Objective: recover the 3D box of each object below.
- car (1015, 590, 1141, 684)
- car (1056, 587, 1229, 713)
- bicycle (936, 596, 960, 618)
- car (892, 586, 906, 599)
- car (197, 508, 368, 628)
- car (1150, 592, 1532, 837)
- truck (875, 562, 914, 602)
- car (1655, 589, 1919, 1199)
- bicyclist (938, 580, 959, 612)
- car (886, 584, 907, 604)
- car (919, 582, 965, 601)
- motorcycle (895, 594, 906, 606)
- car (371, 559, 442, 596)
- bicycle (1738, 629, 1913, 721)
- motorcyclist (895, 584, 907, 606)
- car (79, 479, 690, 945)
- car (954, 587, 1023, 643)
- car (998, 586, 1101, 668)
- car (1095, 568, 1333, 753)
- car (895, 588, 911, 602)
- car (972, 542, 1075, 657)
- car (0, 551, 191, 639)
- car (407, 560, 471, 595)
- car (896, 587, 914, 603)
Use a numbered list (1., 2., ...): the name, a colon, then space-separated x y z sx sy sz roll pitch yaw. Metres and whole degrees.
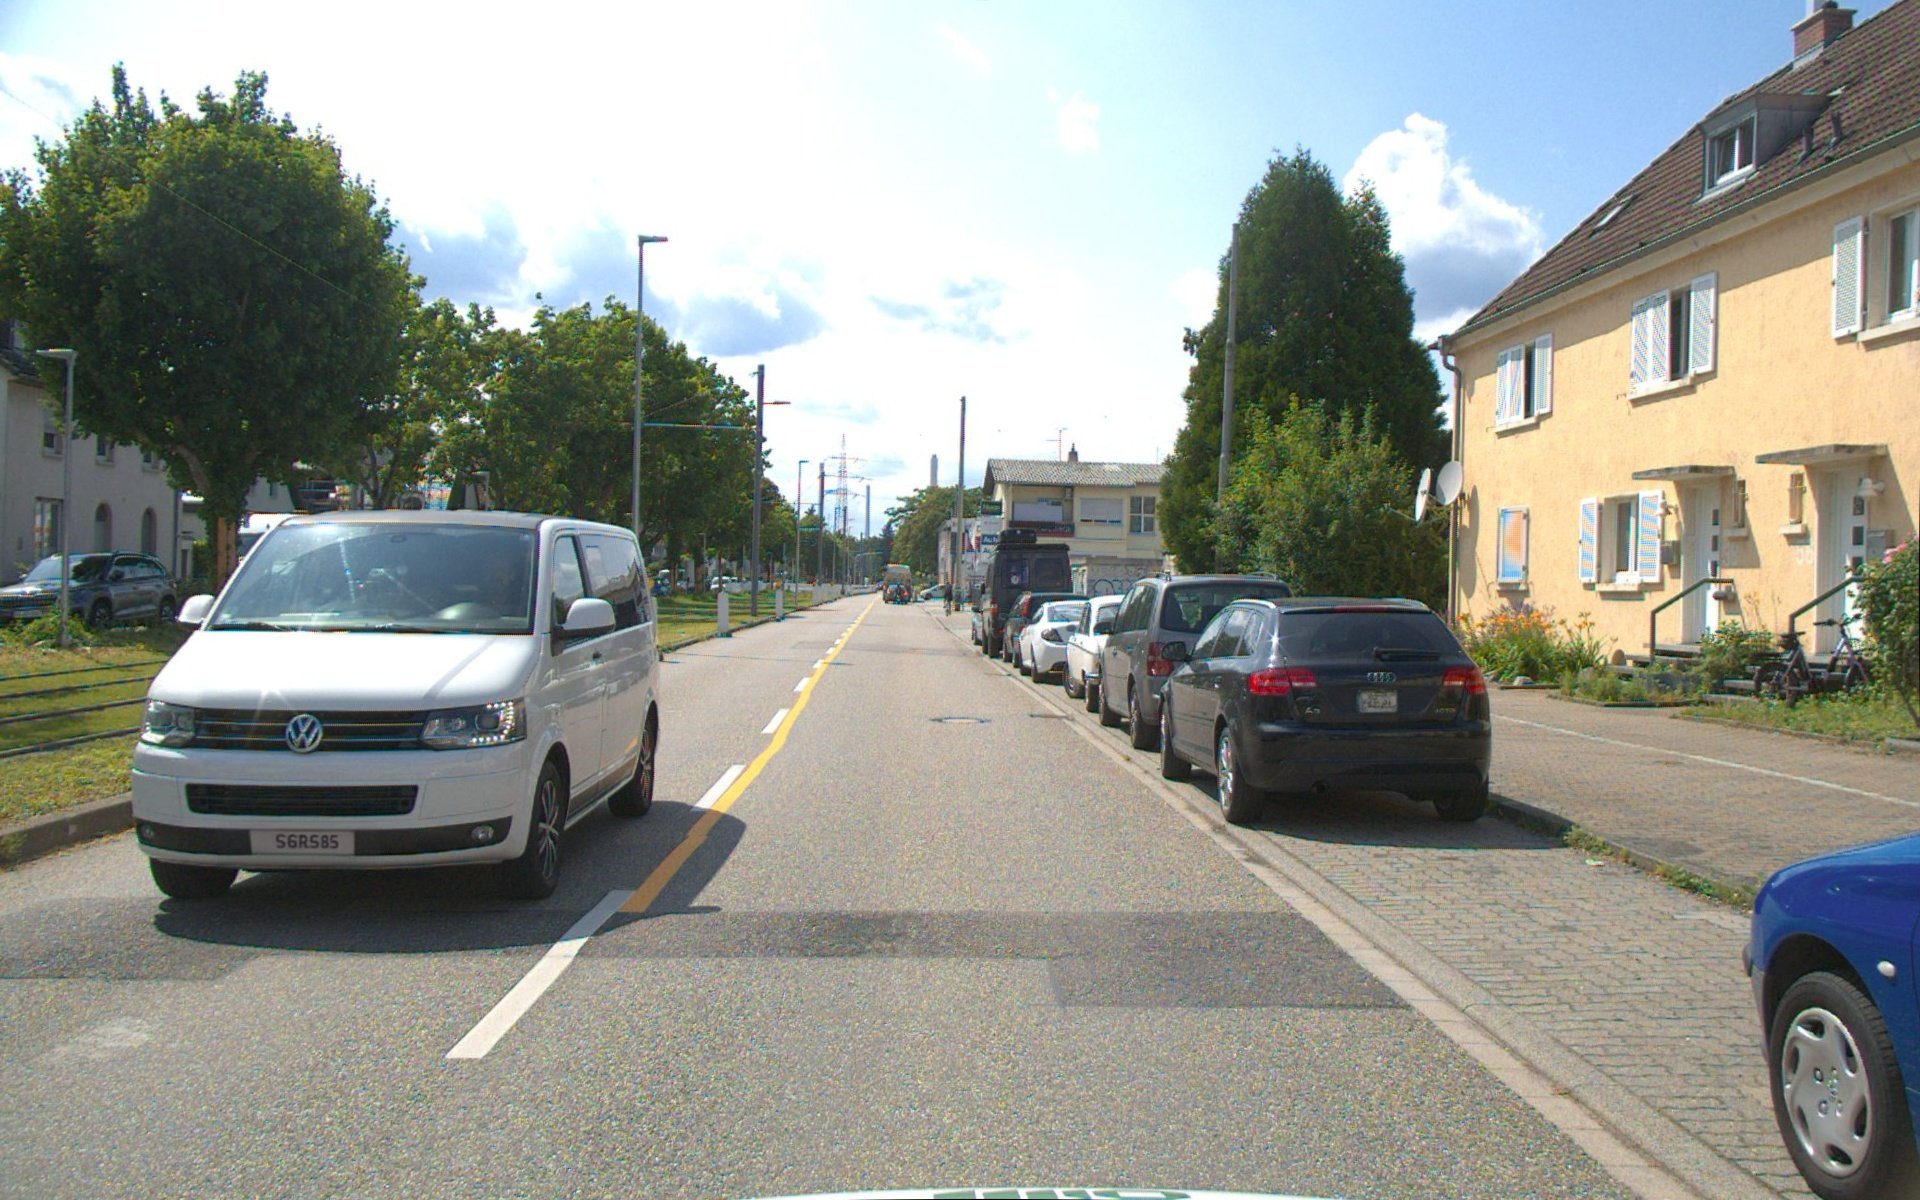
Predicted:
1. car: 1.936 0.566 28.206 1.728 1.465 3.999 0 0 -2
2. car: 2.325 0.591 21.987 1.728 1.502 3.999 0 0 -2
3. bicycle: -0.595 0.348 82.972 0.975 1.067 2.810 1 0 -5
4. car: -7.586 -0.914 205.123 1.537 1.524 4.145 1 0 -4
5. car: -16.896 -0.765 41.700 2.034 2.768 6.994 0 0 -6
6. car: 2.532 0.678 11.976 1.728 1.442 3.999 0 0 -2
7. truck: -5.984 -1.579 149.523 3.157 3.461 11.345 1 0 -4
8. car: 2.969 0.703 3.057 1.588 1.442 3.999 0 0 -2
9. bicyclist: -0.584 -0.209 82.995 0.975 1.596 1.139 1 0 -5
10. car: -5.080 -0.509 132.584 1.537 1.524 4.145 1 0 -4
11. car: -1.859 -0.857 170.043 4.554 1.854 1.833 1 0 -7
12. motorcycle: -4.590 -0.005 127.523 0.866 0.940 2.614 1 0 -3
13. car: -24.682 -0.977 73.882 1.841 1.580 4.395 1 0 -3
14. bicycle: 9.694 0.834 18.534 1.824 0.972 0.366 1 0 -7
15. motorcyclist: -4.565 -0.390 127.259 0.866 1.696 1.108 1 0 -3
16. car: -2.914 0.454 9.824 1.889 1.993 5.374 0 0 -2
17. car: 0.787 0.406 47.797 1.728 1.529 3.998 0 0 -3
18. car: 1.752 0.493 33.381 1.728 1.529 3.999 0 0 -2
19. car: 2.480 0.530 17.076 1.728 1.672 3.999 0 0 -2
20. car: -6.426 -0.549 186.283 1.537 1.524 4.145 1 0 -4
21. car: 1.429 -0.035 39.468 1.920 2.522 6.057 0 0 -3
22. car: -16.405 -0.113 31.197 1.693 1.531 4.567 0 0 -1
23. car: -24.907 -1.053 79.213 1.841 1.580 4.395 1 0 -3
24. car: -5.409 -0.515 161.915 1.537 1.524 4.145 1 0 -4
